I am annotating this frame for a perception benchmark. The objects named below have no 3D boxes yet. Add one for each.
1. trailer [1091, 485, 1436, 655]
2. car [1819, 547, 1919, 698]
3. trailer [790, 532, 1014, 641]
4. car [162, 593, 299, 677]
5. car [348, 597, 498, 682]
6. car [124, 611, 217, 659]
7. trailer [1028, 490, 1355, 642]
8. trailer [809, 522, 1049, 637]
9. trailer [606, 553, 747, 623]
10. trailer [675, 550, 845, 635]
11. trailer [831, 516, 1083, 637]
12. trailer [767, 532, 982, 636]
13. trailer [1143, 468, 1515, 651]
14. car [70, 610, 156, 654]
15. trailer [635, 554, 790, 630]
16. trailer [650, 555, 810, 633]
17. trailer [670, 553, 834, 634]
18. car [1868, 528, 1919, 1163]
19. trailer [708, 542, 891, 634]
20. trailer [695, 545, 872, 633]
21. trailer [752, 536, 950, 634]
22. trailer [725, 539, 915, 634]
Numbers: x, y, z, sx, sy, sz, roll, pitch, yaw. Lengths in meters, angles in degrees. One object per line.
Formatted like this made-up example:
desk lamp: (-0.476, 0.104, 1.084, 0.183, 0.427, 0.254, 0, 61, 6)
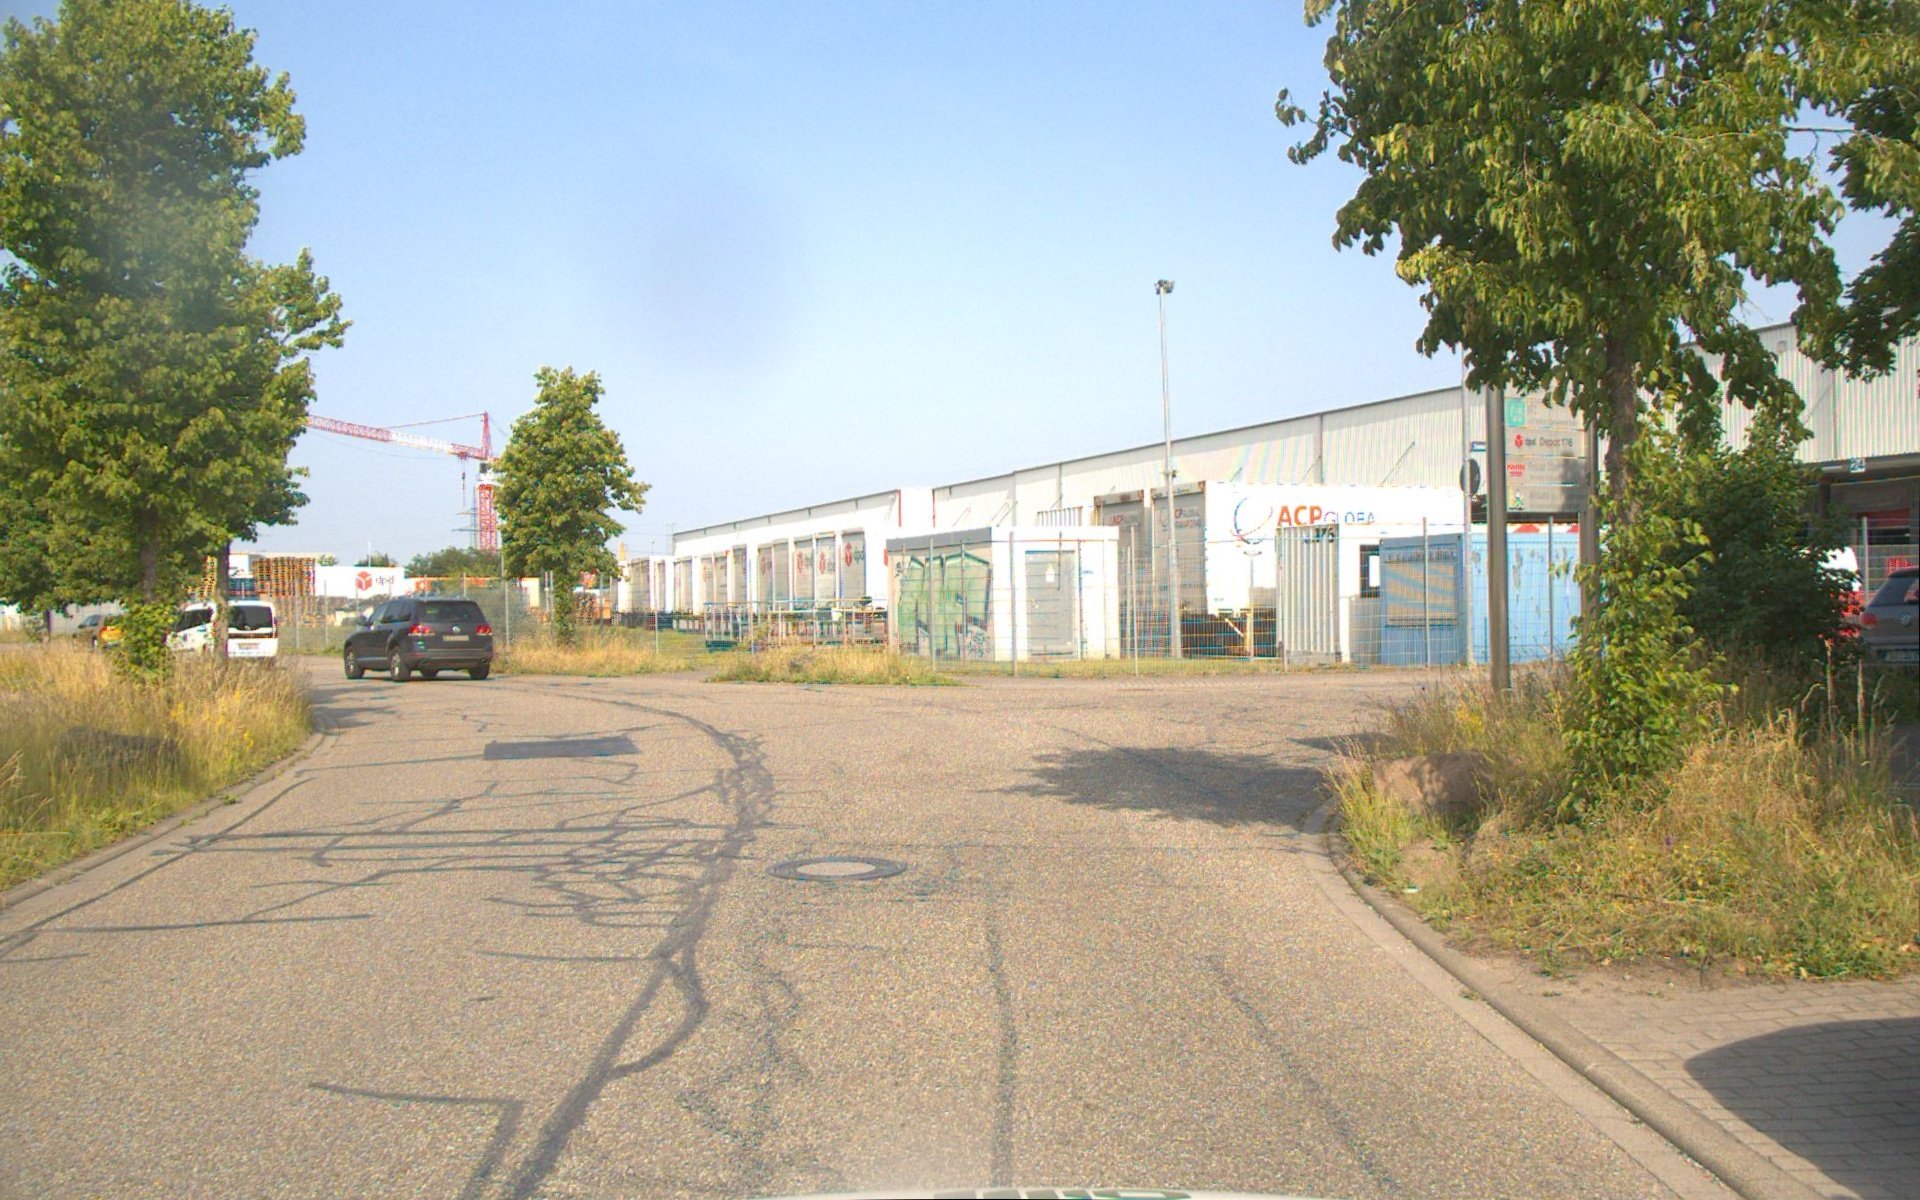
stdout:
trailer: (7.717, -0.810, 41.842, 8.422, 3.961, 2.756, -2, 0, -23)
car: (11.559, 0.210, 17.988, 3.890, 1.550, 1.717, -1, -3, -20)
trailer: (-2.204, -0.458, 63.650, 8.201, 3.962, 2.754, 1, 0, -25)
car: (-20.070, 0.946, 45.414, 2.110, 2.147, 4.553, -1, 0, -42)
car: (-11.188, 0.812, 34.312, 1.865, 1.614, 4.062, -1, 0, -35)
car: (-27.722, 1.211, 58.028, 3.937, 1.541, 1.708, -1, 2, 45)
trailer: (6.286, -0.868, 44.574, 8.619, 3.827, 2.769, 0, -1, -25)
trailer: (-1.113, -0.679, 60.750, 8.426, 3.962, 2.754, 1, 0, -25)
trailer: (-16.879, -0.693, 98.514, 7.860, 3.962, 2.721, 1, 0, -25)
trailer: (-9.793, -0.328, 81.211, 7.860, 3.962, 2.754, 1, 0, -25)
trailer: (-0.063, -0.750, 57.906, 8.426, 3.962, 2.754, 1, 0, -25)
trailer: (-3.406, -0.586, 66.444, 8.201, 3.962, 2.754, 1, 0, -25)
trailer: (8.739, -0.924, 39.036, 8.418, 3.962, 2.756, -1, -2, -23)
car: (-31.622, 1.181, 61.726, 1.708, 1.480, 4.119, -4, 2, -44)
trailer: (-13.492, -0.382, 90.293, 7.860, 3.962, 2.754, 1, 0, -25)
trailer: (-12.121, -0.289, 87.310, 7.860, 3.962, 2.754, 1, 0, -25)
trailer: (-10.606, -0.279, 84.391, 7.860, 3.962, 2.754, 1, 0, -25)
car: (3.328, 0.567, 1.730, 1.842, 1.601, 5.117, -3, 0, -1)
trailer: (-7.289, -0.502, 75.518, 7.860, 3.962, 2.754, 1, 0, -25)
trailer: (-8.349, -0.479, 78.464, 7.860, 3.962, 2.754, 1, 0, -25)
trailer: (-4.606, -0.578, 70.218, 7.930, 3.962, 2.754, 1, 0, -25)
trailer: (-6.137, -0.544, 72.770, 7.860, 3.962, 2.754, 1, 0, -25)
